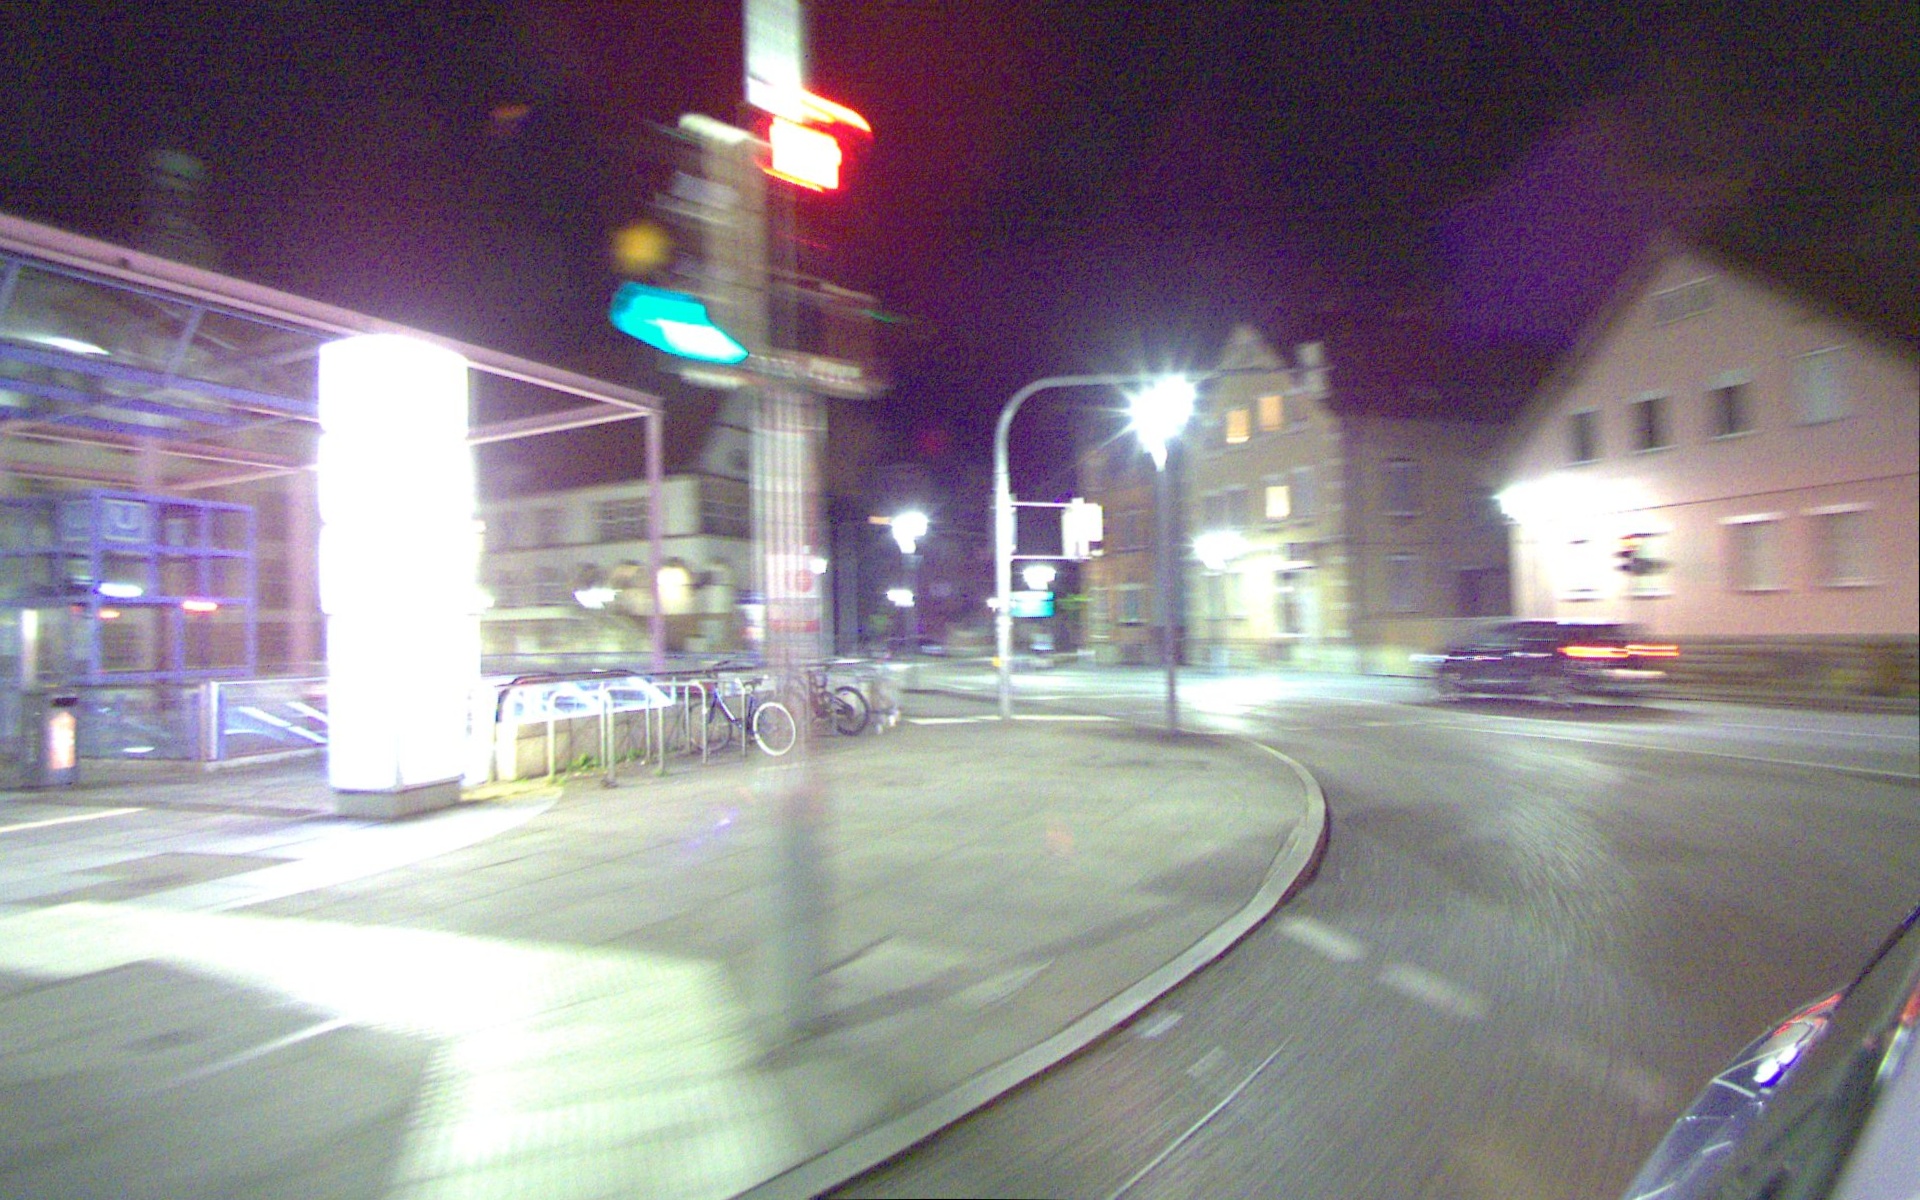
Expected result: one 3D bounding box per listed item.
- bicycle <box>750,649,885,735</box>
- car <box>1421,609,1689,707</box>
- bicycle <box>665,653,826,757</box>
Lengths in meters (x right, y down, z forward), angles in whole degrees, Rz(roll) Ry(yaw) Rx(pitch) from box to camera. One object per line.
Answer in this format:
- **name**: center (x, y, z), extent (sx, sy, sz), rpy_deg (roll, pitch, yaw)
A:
- **bicycle**: center (-2.019, 1.294, 14.325), extent (1.780, 1.143, 0.646), rpy_deg (-2, -3, 20)
- **car**: center (10.957, 1.048, 19.042), extent (1.705, 1.605, 4.249), rpy_deg (-1, -2, -17)
- **bicycle**: center (-2.533, 1.220, 11.941), extent (1.780, 1.143, 0.646), rpy_deg (-2, -3, 20)
